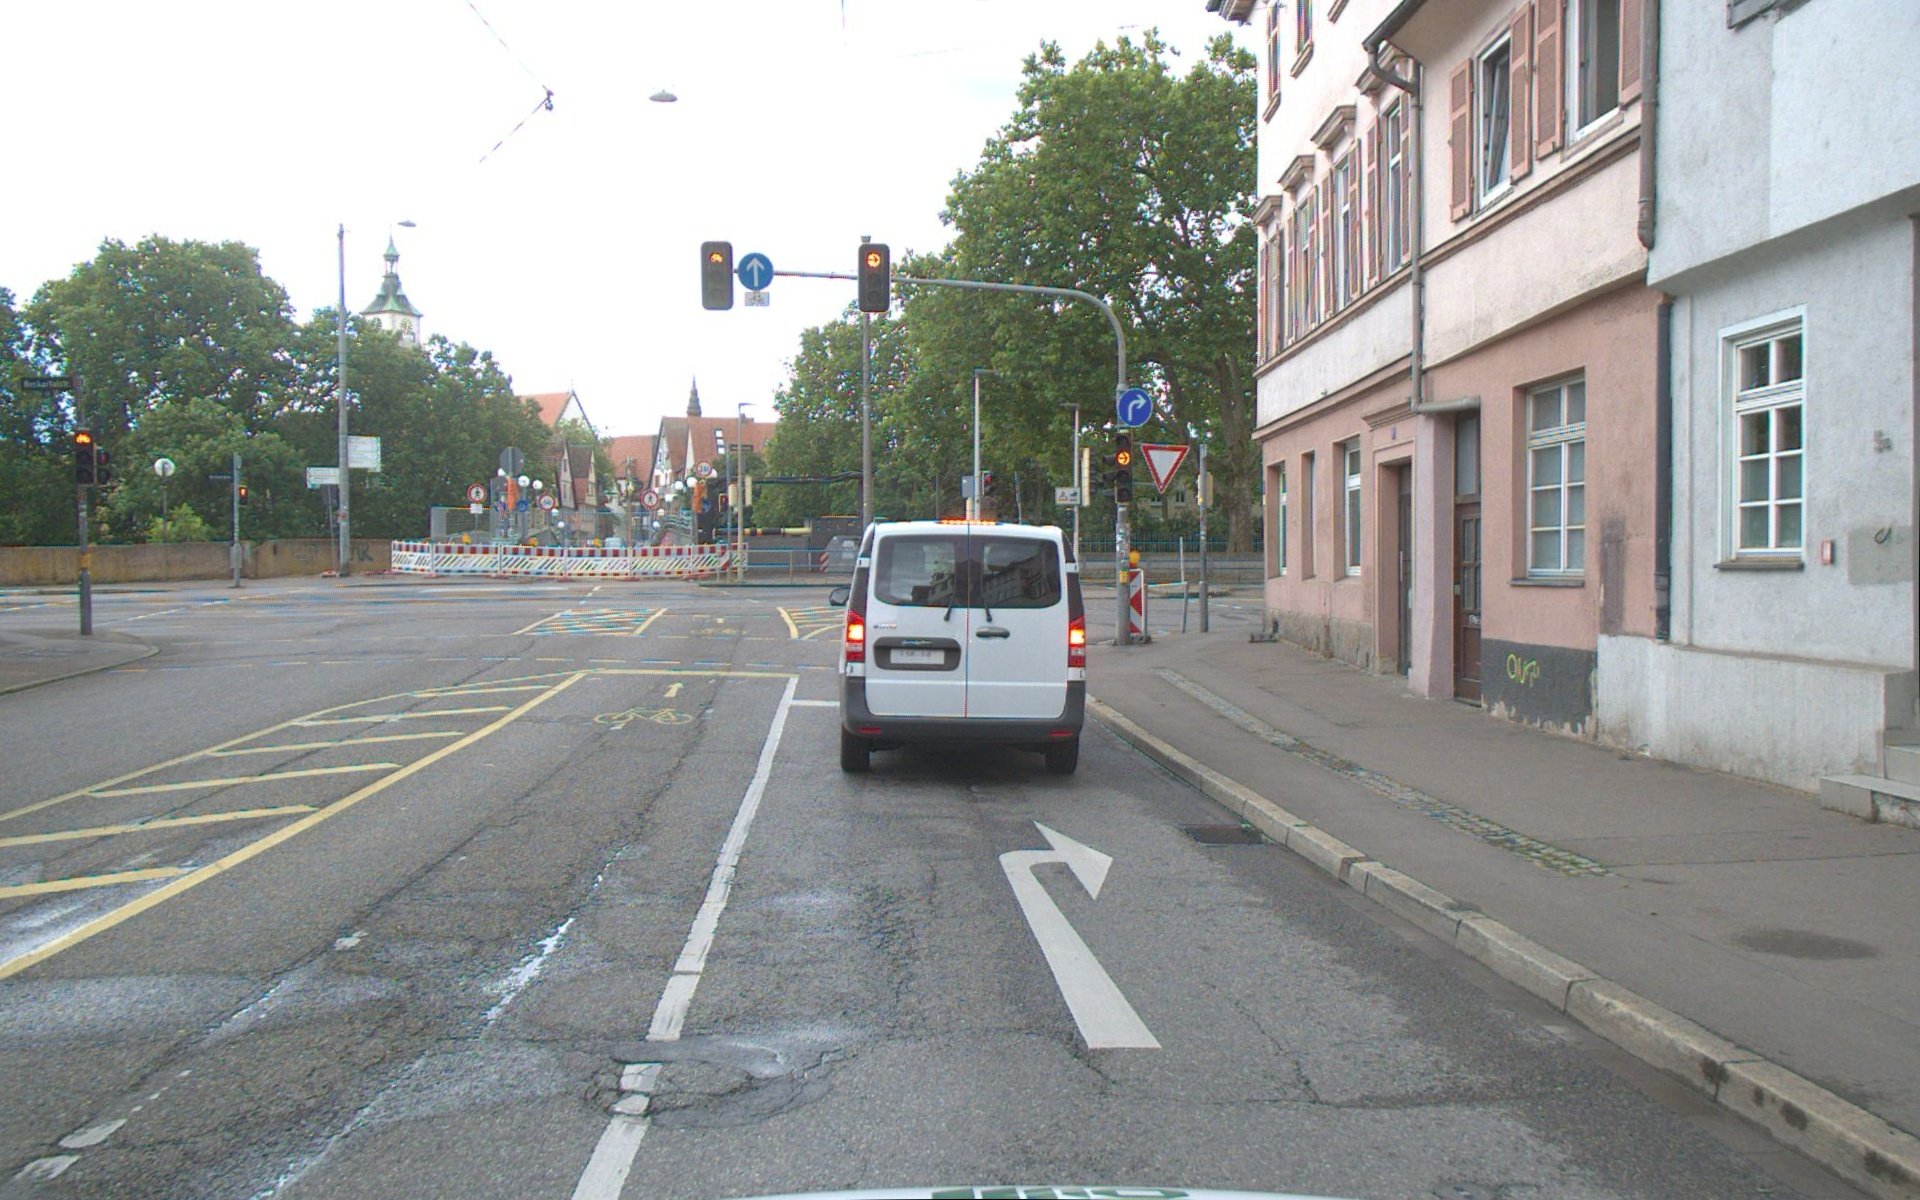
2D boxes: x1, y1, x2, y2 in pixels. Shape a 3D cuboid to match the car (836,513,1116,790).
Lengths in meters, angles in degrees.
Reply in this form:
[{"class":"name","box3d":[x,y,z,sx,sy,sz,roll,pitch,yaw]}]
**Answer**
[{"class":"car","box3d":[-0.039,0.307,13.851,1.954,1.956,4.245,1,2,-5]}]
